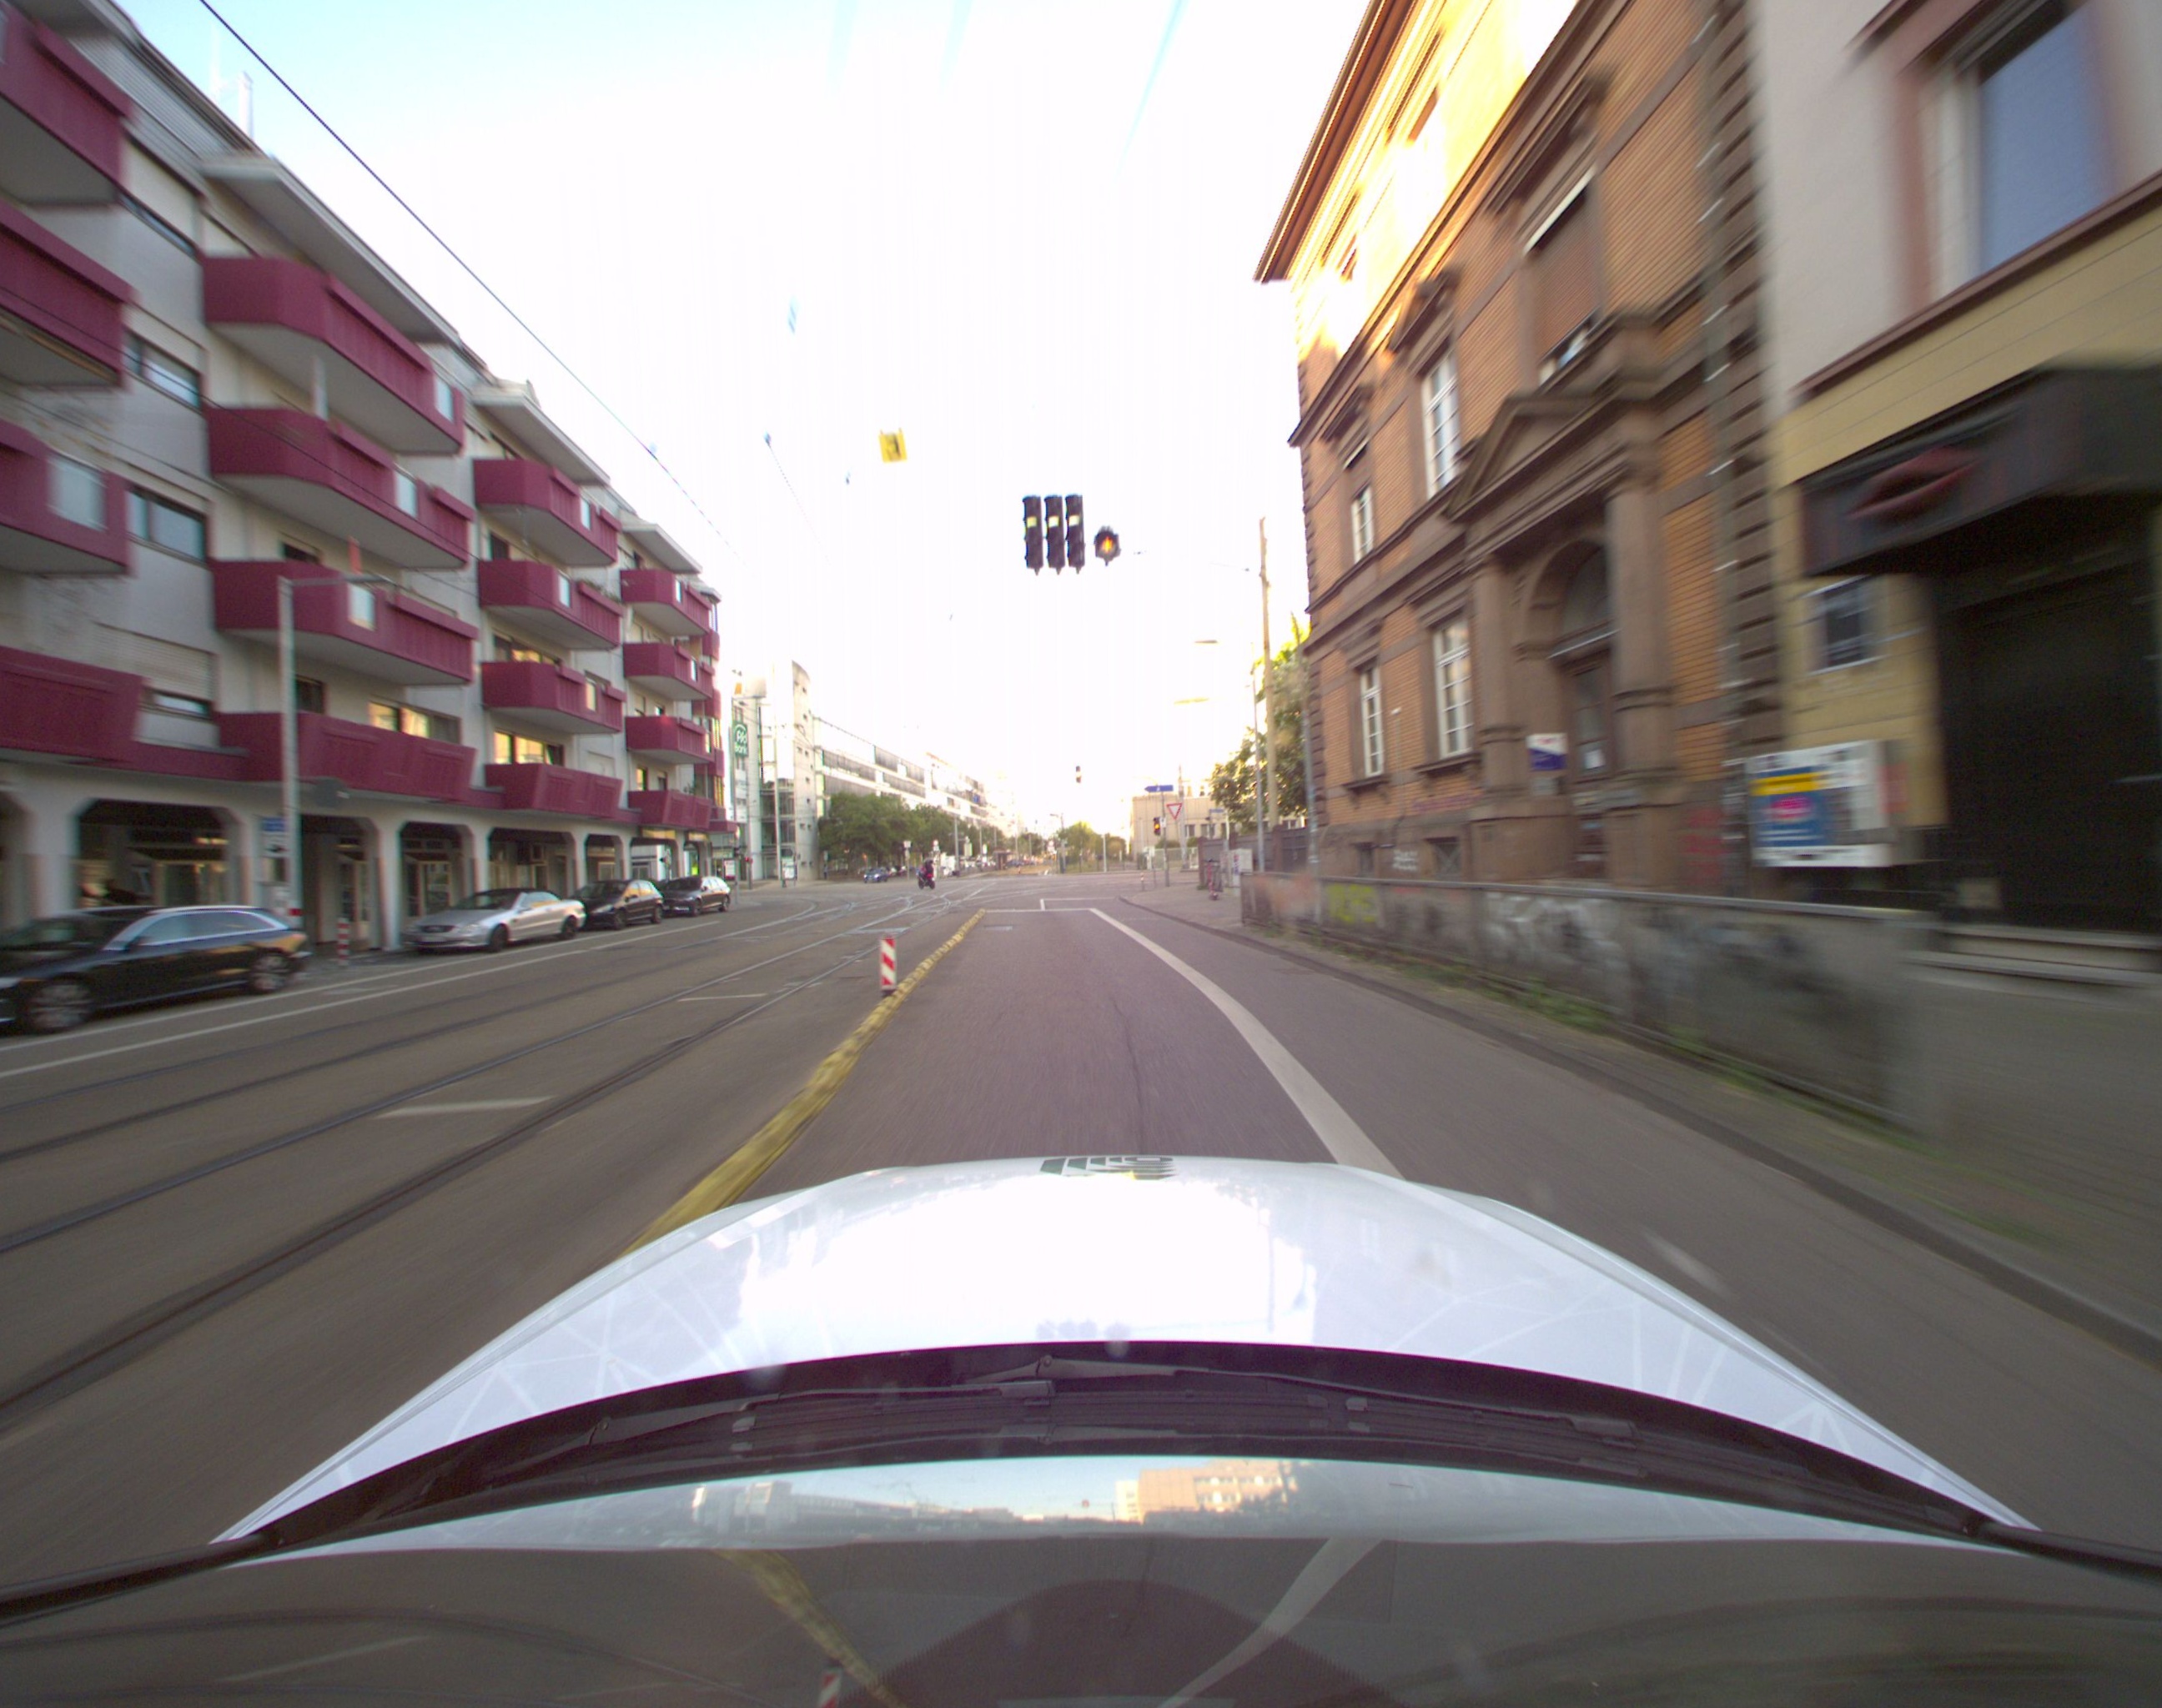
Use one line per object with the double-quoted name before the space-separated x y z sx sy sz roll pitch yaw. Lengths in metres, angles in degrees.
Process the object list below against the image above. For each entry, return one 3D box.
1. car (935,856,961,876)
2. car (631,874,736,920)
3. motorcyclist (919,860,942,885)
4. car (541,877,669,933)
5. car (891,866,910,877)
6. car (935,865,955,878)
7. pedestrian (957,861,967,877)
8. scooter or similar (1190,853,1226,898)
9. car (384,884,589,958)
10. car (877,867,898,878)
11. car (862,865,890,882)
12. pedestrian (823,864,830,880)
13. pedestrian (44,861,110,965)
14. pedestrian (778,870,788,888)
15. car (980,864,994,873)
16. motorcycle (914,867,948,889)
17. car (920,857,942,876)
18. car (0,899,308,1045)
"car" -17.605 1.522 108.174 2.454 2.482 5.804 -3 0 -2
"car" -15.130 1.579 31.377 1.849 1.457 5.077 -2 -1 -5
"motorcyclist" -9.124 1.122 49.290 0.835 1.473 1.192 -2 -1 -42
"car" -14.766 1.524 25.528 1.785 1.508 4.193 -1 -1 -5
"car" -27.026 2.611 122.247 1.676 1.501 4.242 -3 0 3
"car" -17.070 2.154 102.214 1.676 1.439 4.128 -3 0 2
"pedestrian" -15.953 2.001 109.029 1.045 2.030 0.976 -3 -1 -26
"scooter or similar" 3.821 0.628 24.655 0.640 1.266 1.580 -4 0 -4
"car" -14.057 1.517 19.666 1.687 1.414 4.671 -1 -1 -3
"car" -27.496 2.620 115.868 1.676 1.501 4.242 -3 0 3
"car" -23.043 2.185 91.705 1.675 1.700 4.243 -3 0 4
"pedestrian" -30.639 2.200 98.032 0.662 1.922 0.546 -3 0 -10
"pedestrian" -18.722 1.087 15.196 0.609 1.872 0.530 -3 -1 15
"pedestrian" -29.631 2.500 80.937 0.543 1.711 0.662 -3 -1 12
"car" -15.663 2.443 135.824 1.676 1.439 4.128 -3 0 2
"motorcycle" -9.097 1.453 49.264 0.835 1.240 2.461 -2 -1 -42
"car" -26.450 2.129 143.881 2.192 3.152 6.147 -3 0 3
"car" -13.497 1.458 11.106 1.992 1.479 4.470 -1 -1 -7
